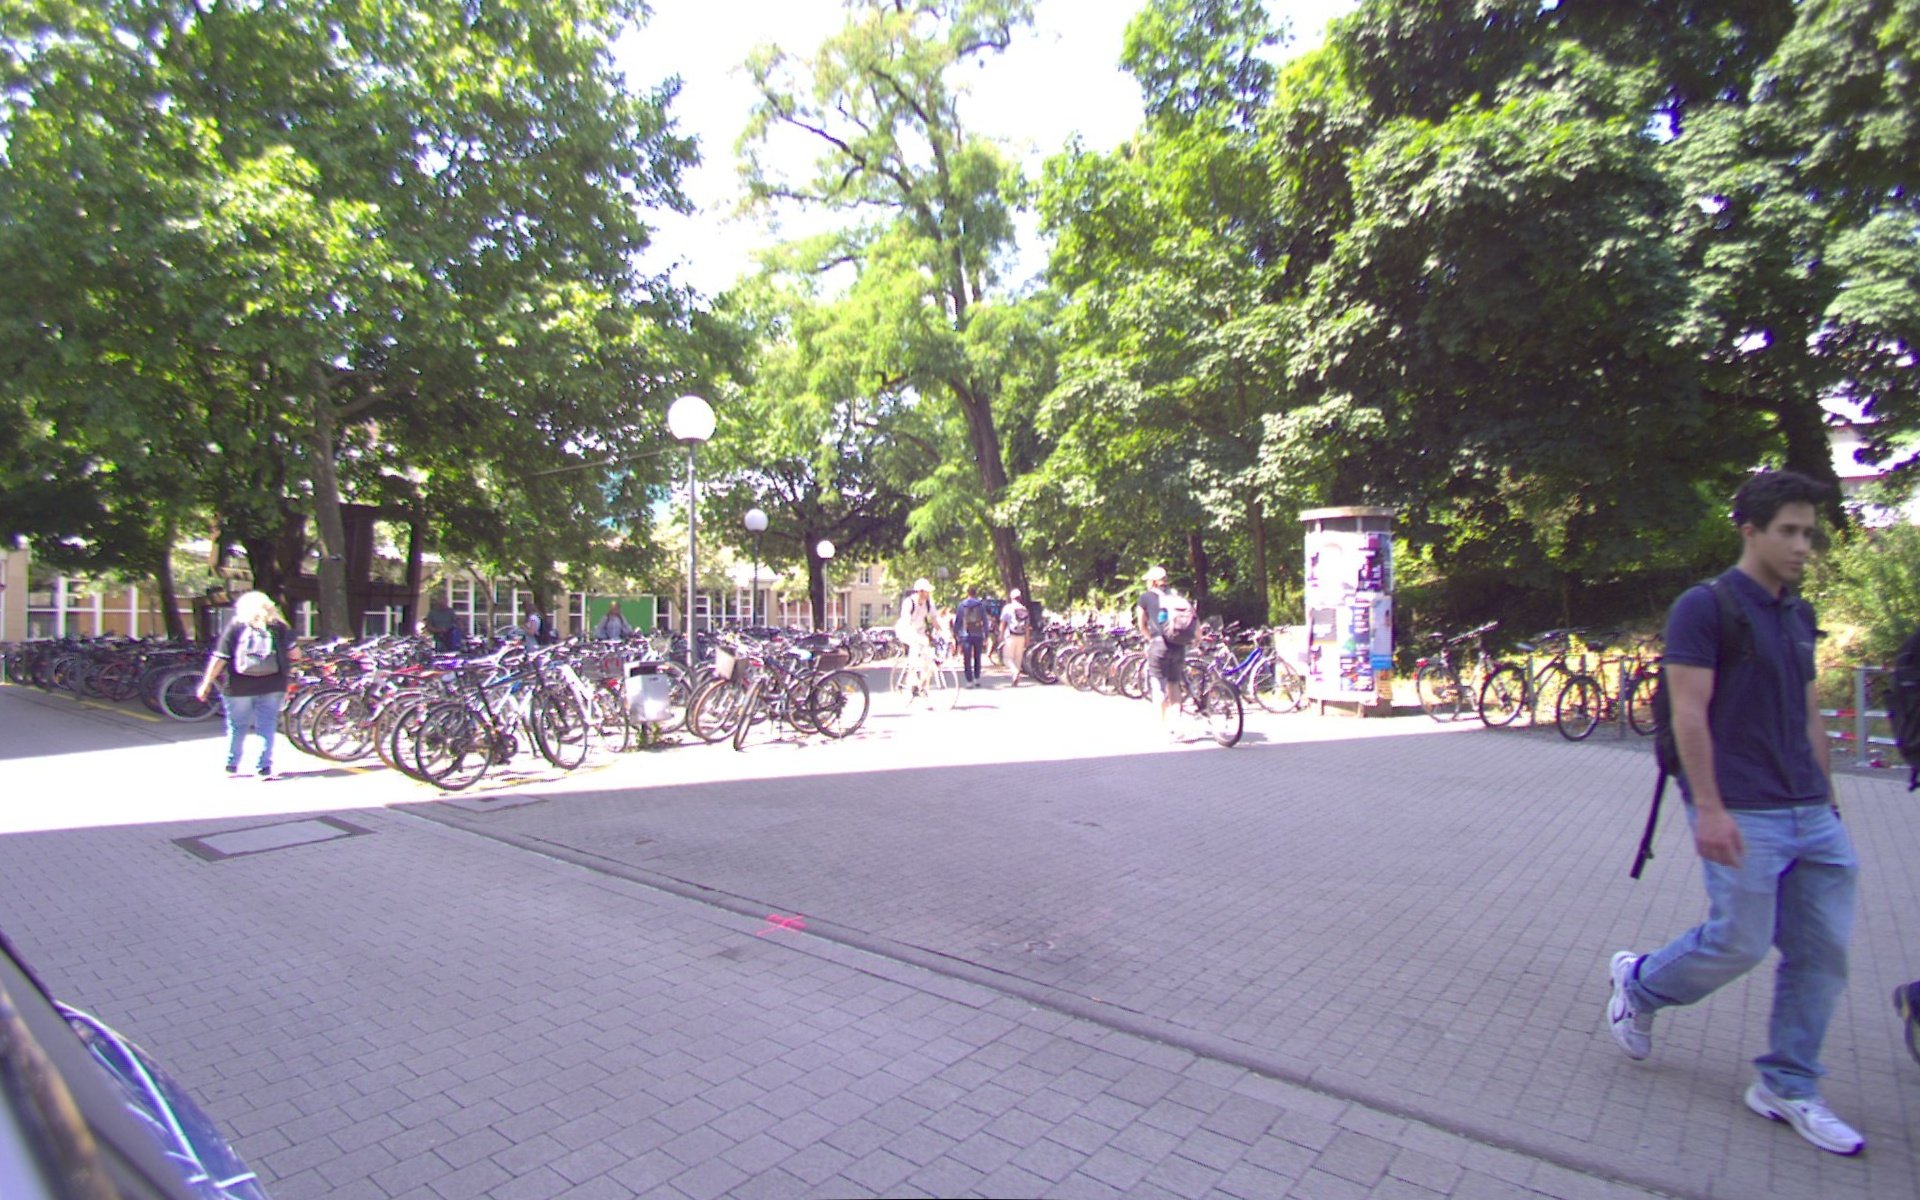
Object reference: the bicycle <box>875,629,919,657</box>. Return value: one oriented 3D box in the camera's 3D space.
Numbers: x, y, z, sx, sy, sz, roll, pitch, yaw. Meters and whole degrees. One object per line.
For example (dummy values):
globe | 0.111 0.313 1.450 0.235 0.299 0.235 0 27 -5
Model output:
bicycle | -2.478 1.695 39.821 1.681 1.092 0.472 -1 -1 11

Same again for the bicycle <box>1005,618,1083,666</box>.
bicycle | 2.000 0.993 24.116 1.749 1.118 0.518 0 -1 -8

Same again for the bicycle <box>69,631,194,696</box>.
bicycle | -15.270 1.147 18.700 1.711 1.116 0.576 0 -1 -31

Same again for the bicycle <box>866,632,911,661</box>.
bicycle | -2.734 1.767 38.692 1.681 1.092 0.472 -1 -1 11

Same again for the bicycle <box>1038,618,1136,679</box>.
bicycle | 2.411 0.903 19.194 1.748 1.118 0.518 0 -1 -11

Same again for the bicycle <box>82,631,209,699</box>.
bicycle | -14.583 1.139 18.163 0.496 1.116 1.717 -1 -1 40

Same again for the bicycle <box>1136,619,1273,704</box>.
bicycle | 3.330 0.829 13.836 1.750 1.118 0.475 0 -1 -6

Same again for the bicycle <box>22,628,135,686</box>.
bicycle | -18.916 1.202 21.756 0.496 1.170 1.764 -1 -1 34

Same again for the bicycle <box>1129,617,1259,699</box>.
bicycle | 3.322 0.804 14.395 1.748 1.118 0.475 0 -1 -11

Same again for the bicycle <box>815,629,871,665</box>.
bicycle | -3.645 1.451 31.462 1.676 1.092 0.474 -1 -1 1

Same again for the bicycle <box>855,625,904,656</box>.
bicycle | -2.887 1.452 36.417 1.681 1.092 0.472 -1 -1 11

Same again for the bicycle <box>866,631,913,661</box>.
bicycle | -2.627 1.729 37.811 1.681 1.092 0.472 -1 -1 11

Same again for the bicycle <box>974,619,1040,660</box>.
bicycle | 1.314 1.102 28.225 1.749 1.118 0.518 0 -1 -8

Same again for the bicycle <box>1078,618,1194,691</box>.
bicycle | 2.809 0.860 16.181 1.748 1.118 0.475 0 -1 -11

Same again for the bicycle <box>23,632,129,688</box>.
bicycle | -18.617 1.242 21.338 0.496 1.116 1.610 -1 -1 34

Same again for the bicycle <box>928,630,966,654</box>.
bicycle | -0.593 1.921 46.323 1.681 1.092 0.472 -1 -1 11

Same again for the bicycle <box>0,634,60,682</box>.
bicycle | -23.116 1.422 24.760 0.497 1.116 1.606 -1 -1 44

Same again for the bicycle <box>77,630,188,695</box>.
bicycle | -15.680 1.160 19.229 1.603 1.152 0.498 0 -1 -37

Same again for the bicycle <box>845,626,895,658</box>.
bicycle | -3.132 1.468 35.201 1.681 1.092 0.472 -1 -1 11

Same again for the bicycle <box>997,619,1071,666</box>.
bicycle | 1.817 1.040 24.972 1.749 1.118 0.518 0 -1 -8

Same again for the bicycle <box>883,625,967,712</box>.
bicycle | -0.502 0.894 13.783 0.593 1.092 1.705 0 -1 -22

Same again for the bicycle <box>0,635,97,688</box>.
bicycle | -20.709 1.369 23.012 0.691 1.116 1.606 -1 -1 44

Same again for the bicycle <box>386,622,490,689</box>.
bicycle | -9.794 1.035 19.009 1.676 1.209 0.576 -1 -1 1

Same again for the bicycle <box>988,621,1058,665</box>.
bicycle | 1.652 1.116 26.554 1.749 1.118 0.518 0 -1 -8

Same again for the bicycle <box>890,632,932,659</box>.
bicycle | -2.032 1.871 41.893 1.681 1.092 0.472 -1 -1 11

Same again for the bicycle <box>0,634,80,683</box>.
bicycle | -22.124 1.384 24.183 0.629 1.116 1.606 -1 -1 44

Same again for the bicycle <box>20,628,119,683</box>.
bicycle | -19.953 1.228 22.701 0.496 1.159 1.608 -1 -1 40

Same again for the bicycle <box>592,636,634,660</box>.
bicycle | -16.733 2.310 48.826 0.605 1.116 1.805 0 -1 41

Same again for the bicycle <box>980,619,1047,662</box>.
bicycle | 1.443 1.089 27.464 1.749 1.118 0.518 0 -1 -8

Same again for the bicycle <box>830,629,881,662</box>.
bicycle | -3.534 1.527 34.251 1.681 1.092 0.472 -1 -1 11

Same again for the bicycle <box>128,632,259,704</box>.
bicycle | -12.812 1.111 16.974 0.494 1.116 1.724 -1 -1 27

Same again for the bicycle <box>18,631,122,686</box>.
bicycle | -19.430 1.259 22.127 0.643 1.116 1.610 -1 -1 35

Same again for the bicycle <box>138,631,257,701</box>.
bicycle | -13.304 1.124 17.718 0.492 1.116 1.732 -1 -1 16

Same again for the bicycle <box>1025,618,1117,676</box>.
bicycle | 2.213 0.926 20.229 1.749 1.118 0.518 0 -1 -8

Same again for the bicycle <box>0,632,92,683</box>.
bicycle | -21.235 1.313 23.509 0.497 1.116 1.606 -1 -1 44

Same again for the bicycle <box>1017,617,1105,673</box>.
bicycle | 2.104 0.933 21.125 1.749 1.118 0.518 0 -1 -8

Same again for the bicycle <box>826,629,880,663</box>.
bicycle | -3.487 1.496 32.952 1.679 1.092 0.473 -1 -1 7

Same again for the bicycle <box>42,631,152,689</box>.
bicycle | -17.755 1.216 20.876 1.699 1.116 0.720 0 -1 -40

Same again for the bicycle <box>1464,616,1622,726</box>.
bicycle | 6.333 0.738 10.984 1.747 1.118 0.475 0 -1 -21

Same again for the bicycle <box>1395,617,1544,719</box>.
bicycle | 5.932 0.762 11.775 1.747 1.118 0.475 0 -1 -21

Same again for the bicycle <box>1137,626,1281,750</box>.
bicycle | 2.475 0.837 10.305 0.466 1.118 1.851 0 -1 -20

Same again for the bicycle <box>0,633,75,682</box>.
bicycle | -22.555 1.388 24.545 0.497 1.116 1.606 -1 -1 44

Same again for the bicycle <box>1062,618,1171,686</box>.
bicycle | 2.660 0.871 17.227 1.748 1.118 0.475 0 -1 -11

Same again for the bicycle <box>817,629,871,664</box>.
bicycle | -3.677 1.468 32.110 1.676 1.092 0.474 -1 -1 1

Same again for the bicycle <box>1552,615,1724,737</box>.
bicycle | 6.684 0.720 9.964 1.747 1.118 0.475 0 -1 -21

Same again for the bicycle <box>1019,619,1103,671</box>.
bicycle | 2.230 0.986 22.377 1.749 1.118 0.518 0 -1 -8

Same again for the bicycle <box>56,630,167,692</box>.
bicycle | -16.277 1.153 19.465 1.603 1.116 0.498 0 -1 -37

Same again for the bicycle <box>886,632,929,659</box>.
bicycle | -2.109 1.836 40.791 1.681 1.092 0.472 -1 -1 11

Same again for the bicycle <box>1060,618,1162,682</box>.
bicycle | 2.740 0.887 18.377 1.748 1.118 0.518 0 -1 -11

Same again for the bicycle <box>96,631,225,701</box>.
bicycle | -14.054 1.132 17.831 0.496 1.135 1.720 -1 -1 35

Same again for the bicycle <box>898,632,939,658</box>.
bicycle | -1.746 1.906 42.958 1.681 1.092 0.472 -1 -1 11

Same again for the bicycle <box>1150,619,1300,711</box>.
bicycle | 3.319 0.802 12.728 1.750 1.118 0.475 0 -1 -6

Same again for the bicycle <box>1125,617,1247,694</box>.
bicycle | 3.430 0.820 15.361 1.748 1.118 0.475 0 -1 -11

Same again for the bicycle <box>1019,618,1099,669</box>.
bicycle | 2.264 0.990 23.239 1.749 1.118 0.518 0 -1 -8

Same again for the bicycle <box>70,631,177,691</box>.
bicycle | -16.513 1.181 20.021 1.603 1.116 0.564 0 -1 -37

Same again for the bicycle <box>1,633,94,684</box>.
bicycle | -21.579 1.361 23.949 0.506 1.116 1.606 -1 -1 44
